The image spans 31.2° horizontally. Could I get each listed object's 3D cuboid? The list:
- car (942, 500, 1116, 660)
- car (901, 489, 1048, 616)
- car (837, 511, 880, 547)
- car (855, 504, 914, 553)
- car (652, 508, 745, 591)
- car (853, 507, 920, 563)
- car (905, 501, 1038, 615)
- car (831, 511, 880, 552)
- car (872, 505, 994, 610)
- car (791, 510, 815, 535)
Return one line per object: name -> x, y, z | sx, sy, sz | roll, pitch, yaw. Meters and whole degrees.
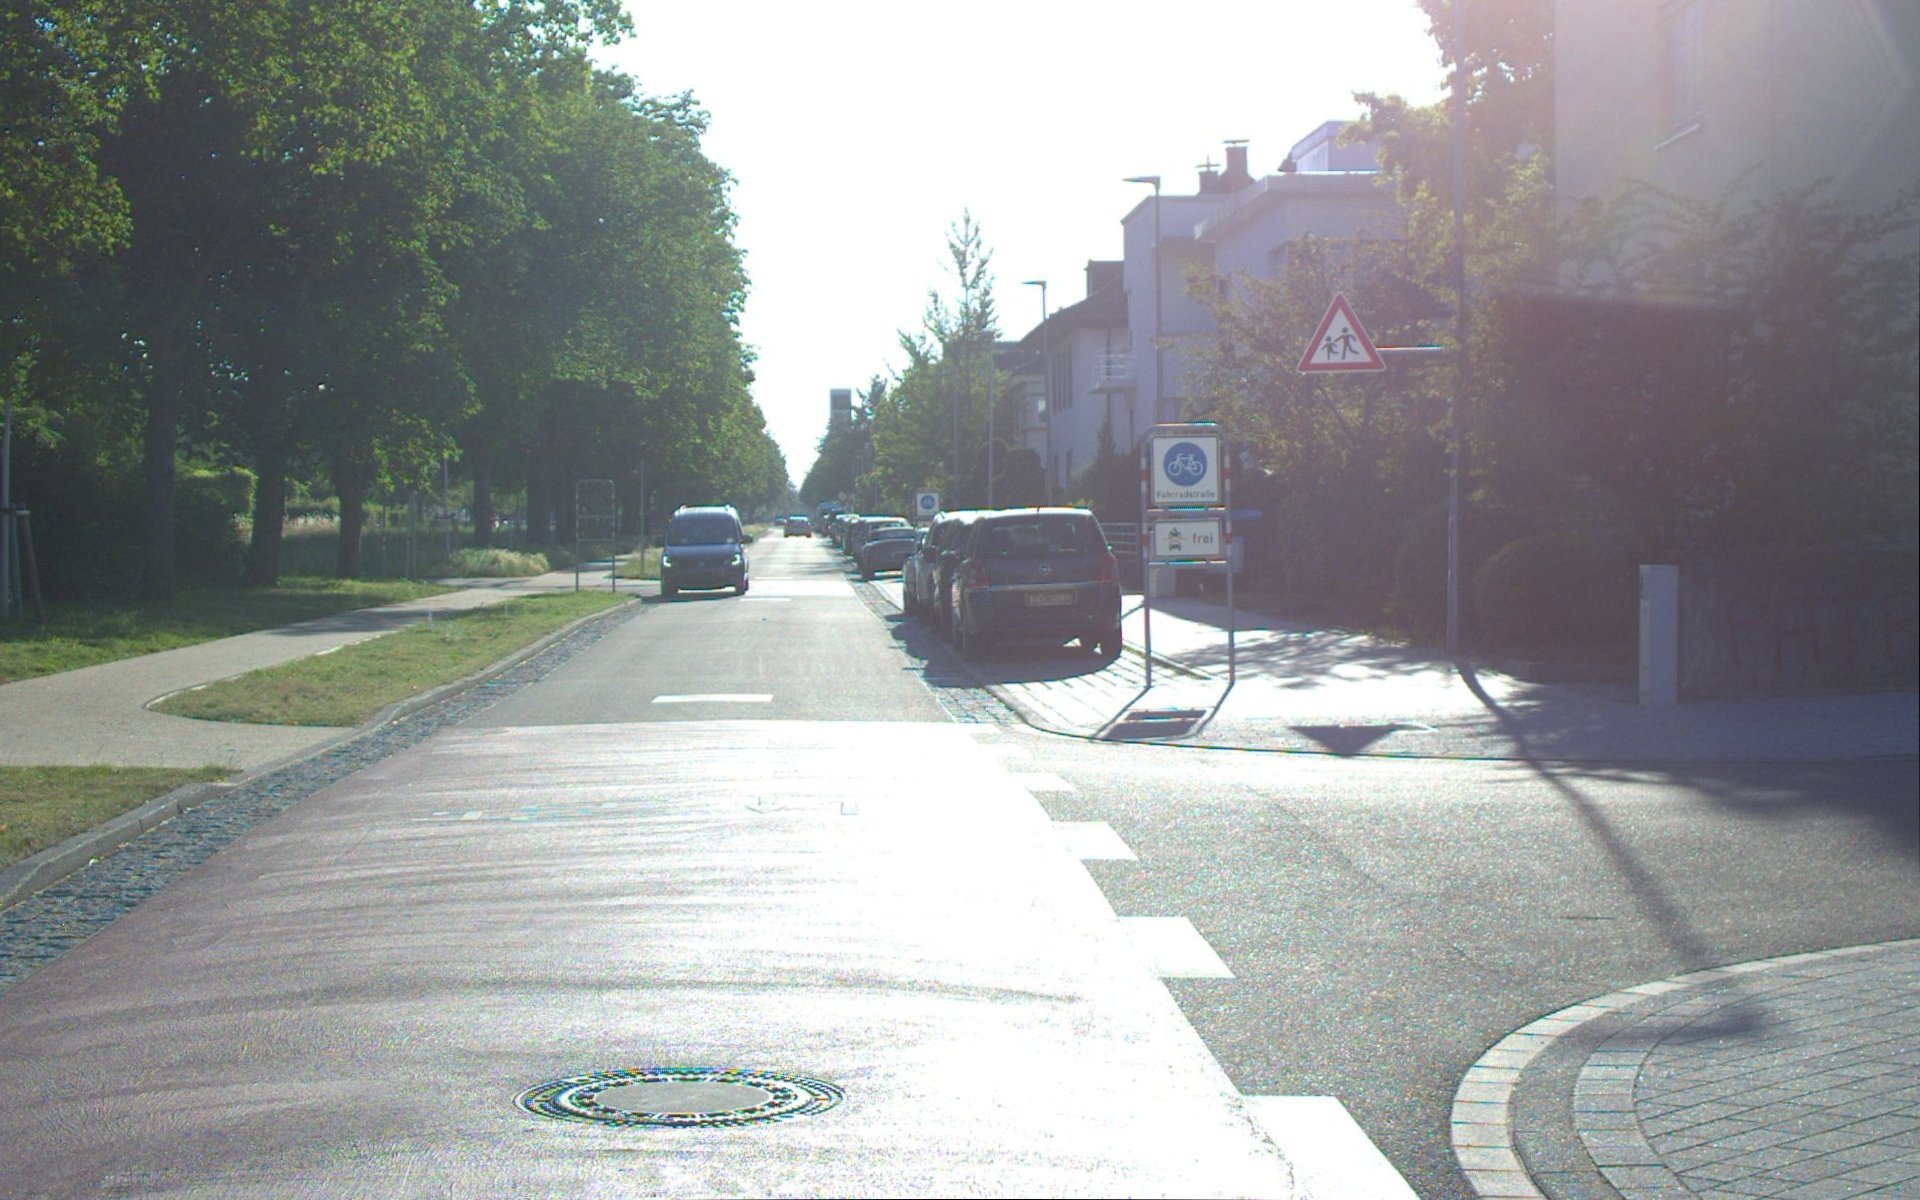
car -> 0.725, -0.261, 38.638 | 1.626, 1.663, 4.250 | -1, 1, -3
car -> 0.213, -0.705, 49.757 | 1.993, 1.711, 4.000 | -1, 1, 0
car -> -4.146, -2.914, 139.926 | 1.626, 1.405, 4.250 | -1, 1, -3
car -> -2.299, -2.159, 103.826 | 1.626, 1.405, 4.250 | -1, 1, -3
car -> -5.516, -1.092, 72.885 | 1.825, 1.663, 4.250 | -1, 1, -3
car -> -1.983, -1.747, 92.037 | 1.626, 1.405, 4.250 | -1, 1, -3
car -> 0.190, -0.689, 54.602 | 1.993, 1.711, 4.000 | -1, 1, 0
car -> -3.761, -2.460, 123.499 | 1.626, 1.405, 4.250 | -1, 1, -3
car -> -0.442, -0.758, 59.449 | 1.993, 1.711, 4.000 | -1, 1, 0
car -> -10.897, -5.364, 238.252 | 1.626, 1.663, 4.250 | -1, 1, -3
